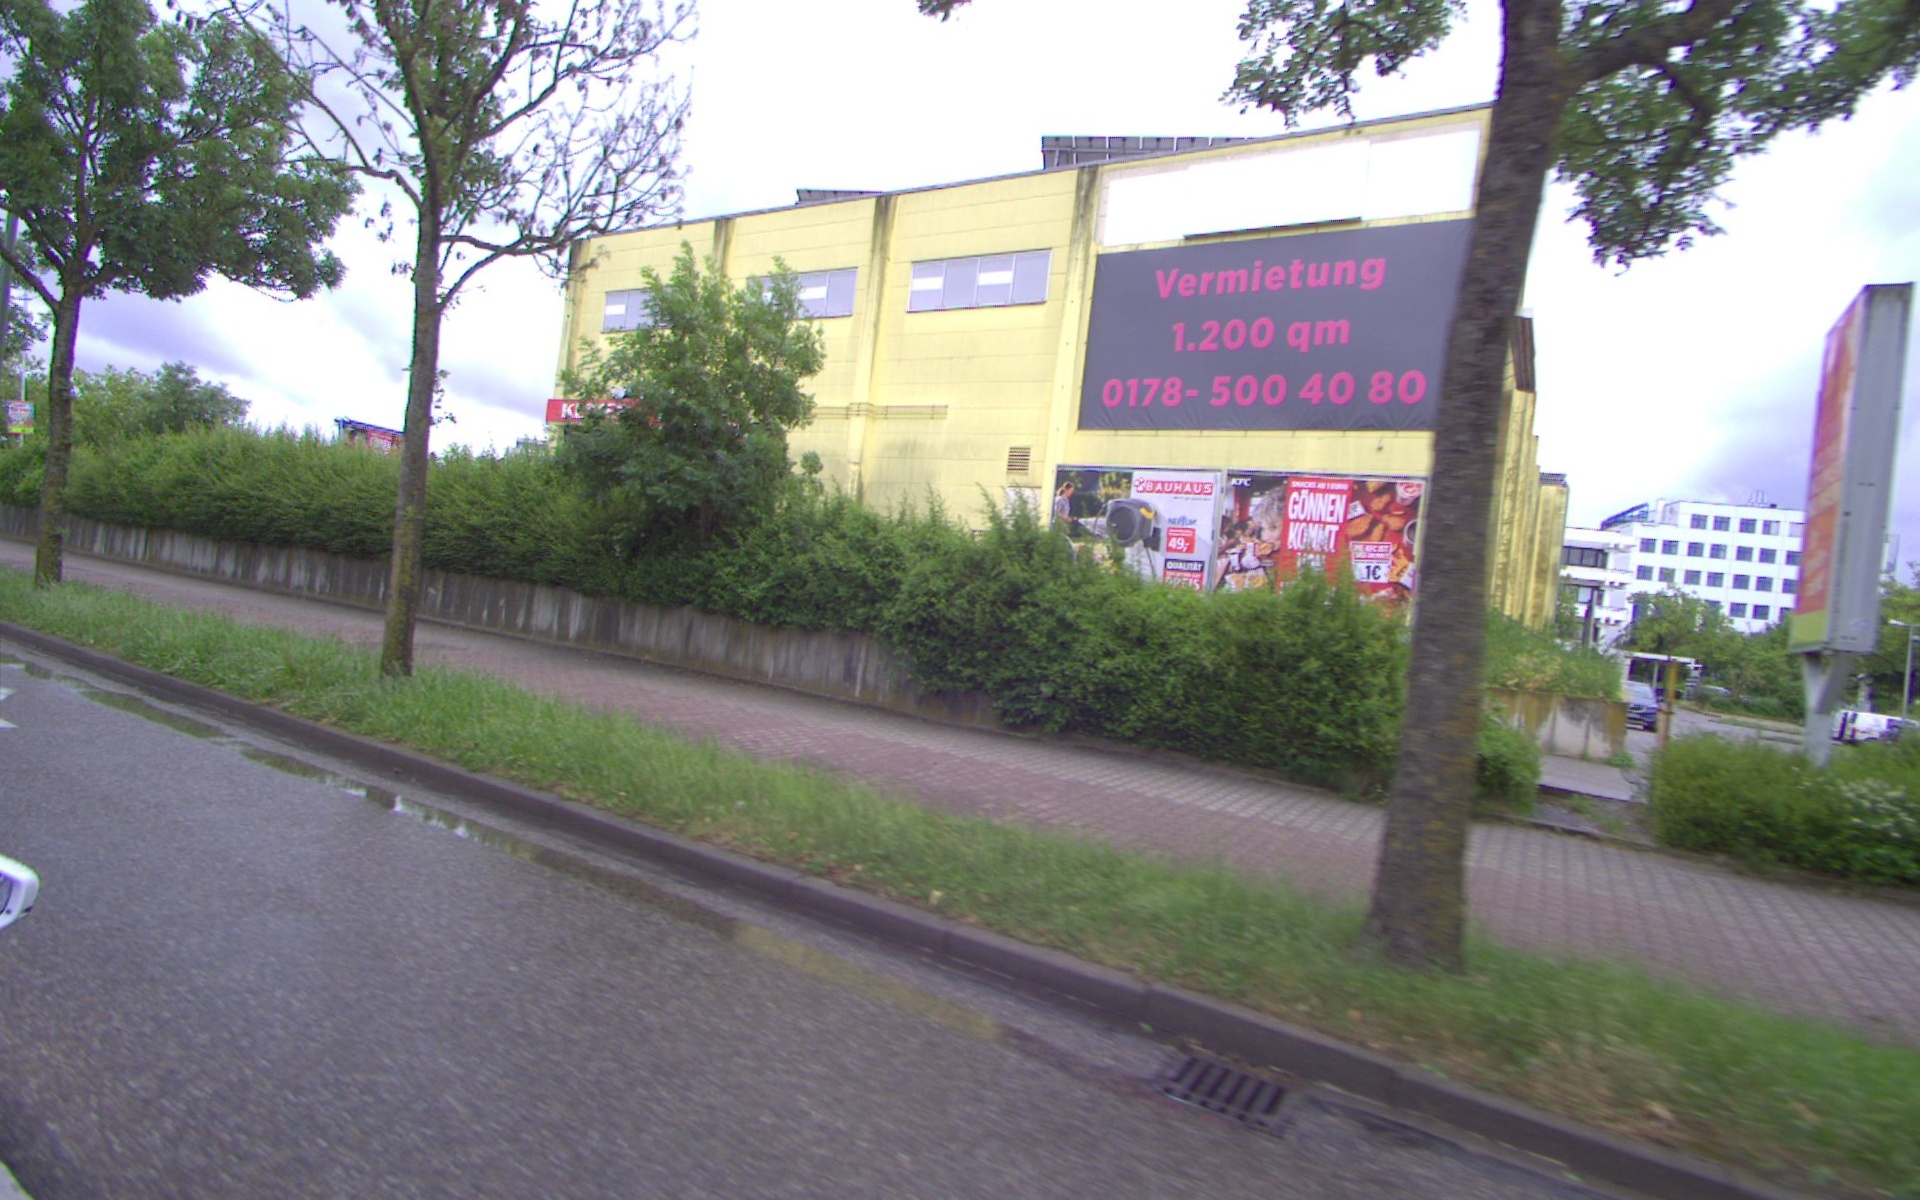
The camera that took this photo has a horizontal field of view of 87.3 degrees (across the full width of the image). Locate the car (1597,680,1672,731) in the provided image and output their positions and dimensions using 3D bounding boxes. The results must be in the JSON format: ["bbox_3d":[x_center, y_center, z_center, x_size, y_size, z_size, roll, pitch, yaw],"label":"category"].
[{"bbox_3d":[23.743,3.706,35.537,1.879,1.459,3.993,6,-1,32],"label":"car"}]

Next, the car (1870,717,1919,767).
[{"bbox_3d":[36.097,5.372,36.440,4.181,1.632,1.909,6,-1,28],"label":"car"}]
